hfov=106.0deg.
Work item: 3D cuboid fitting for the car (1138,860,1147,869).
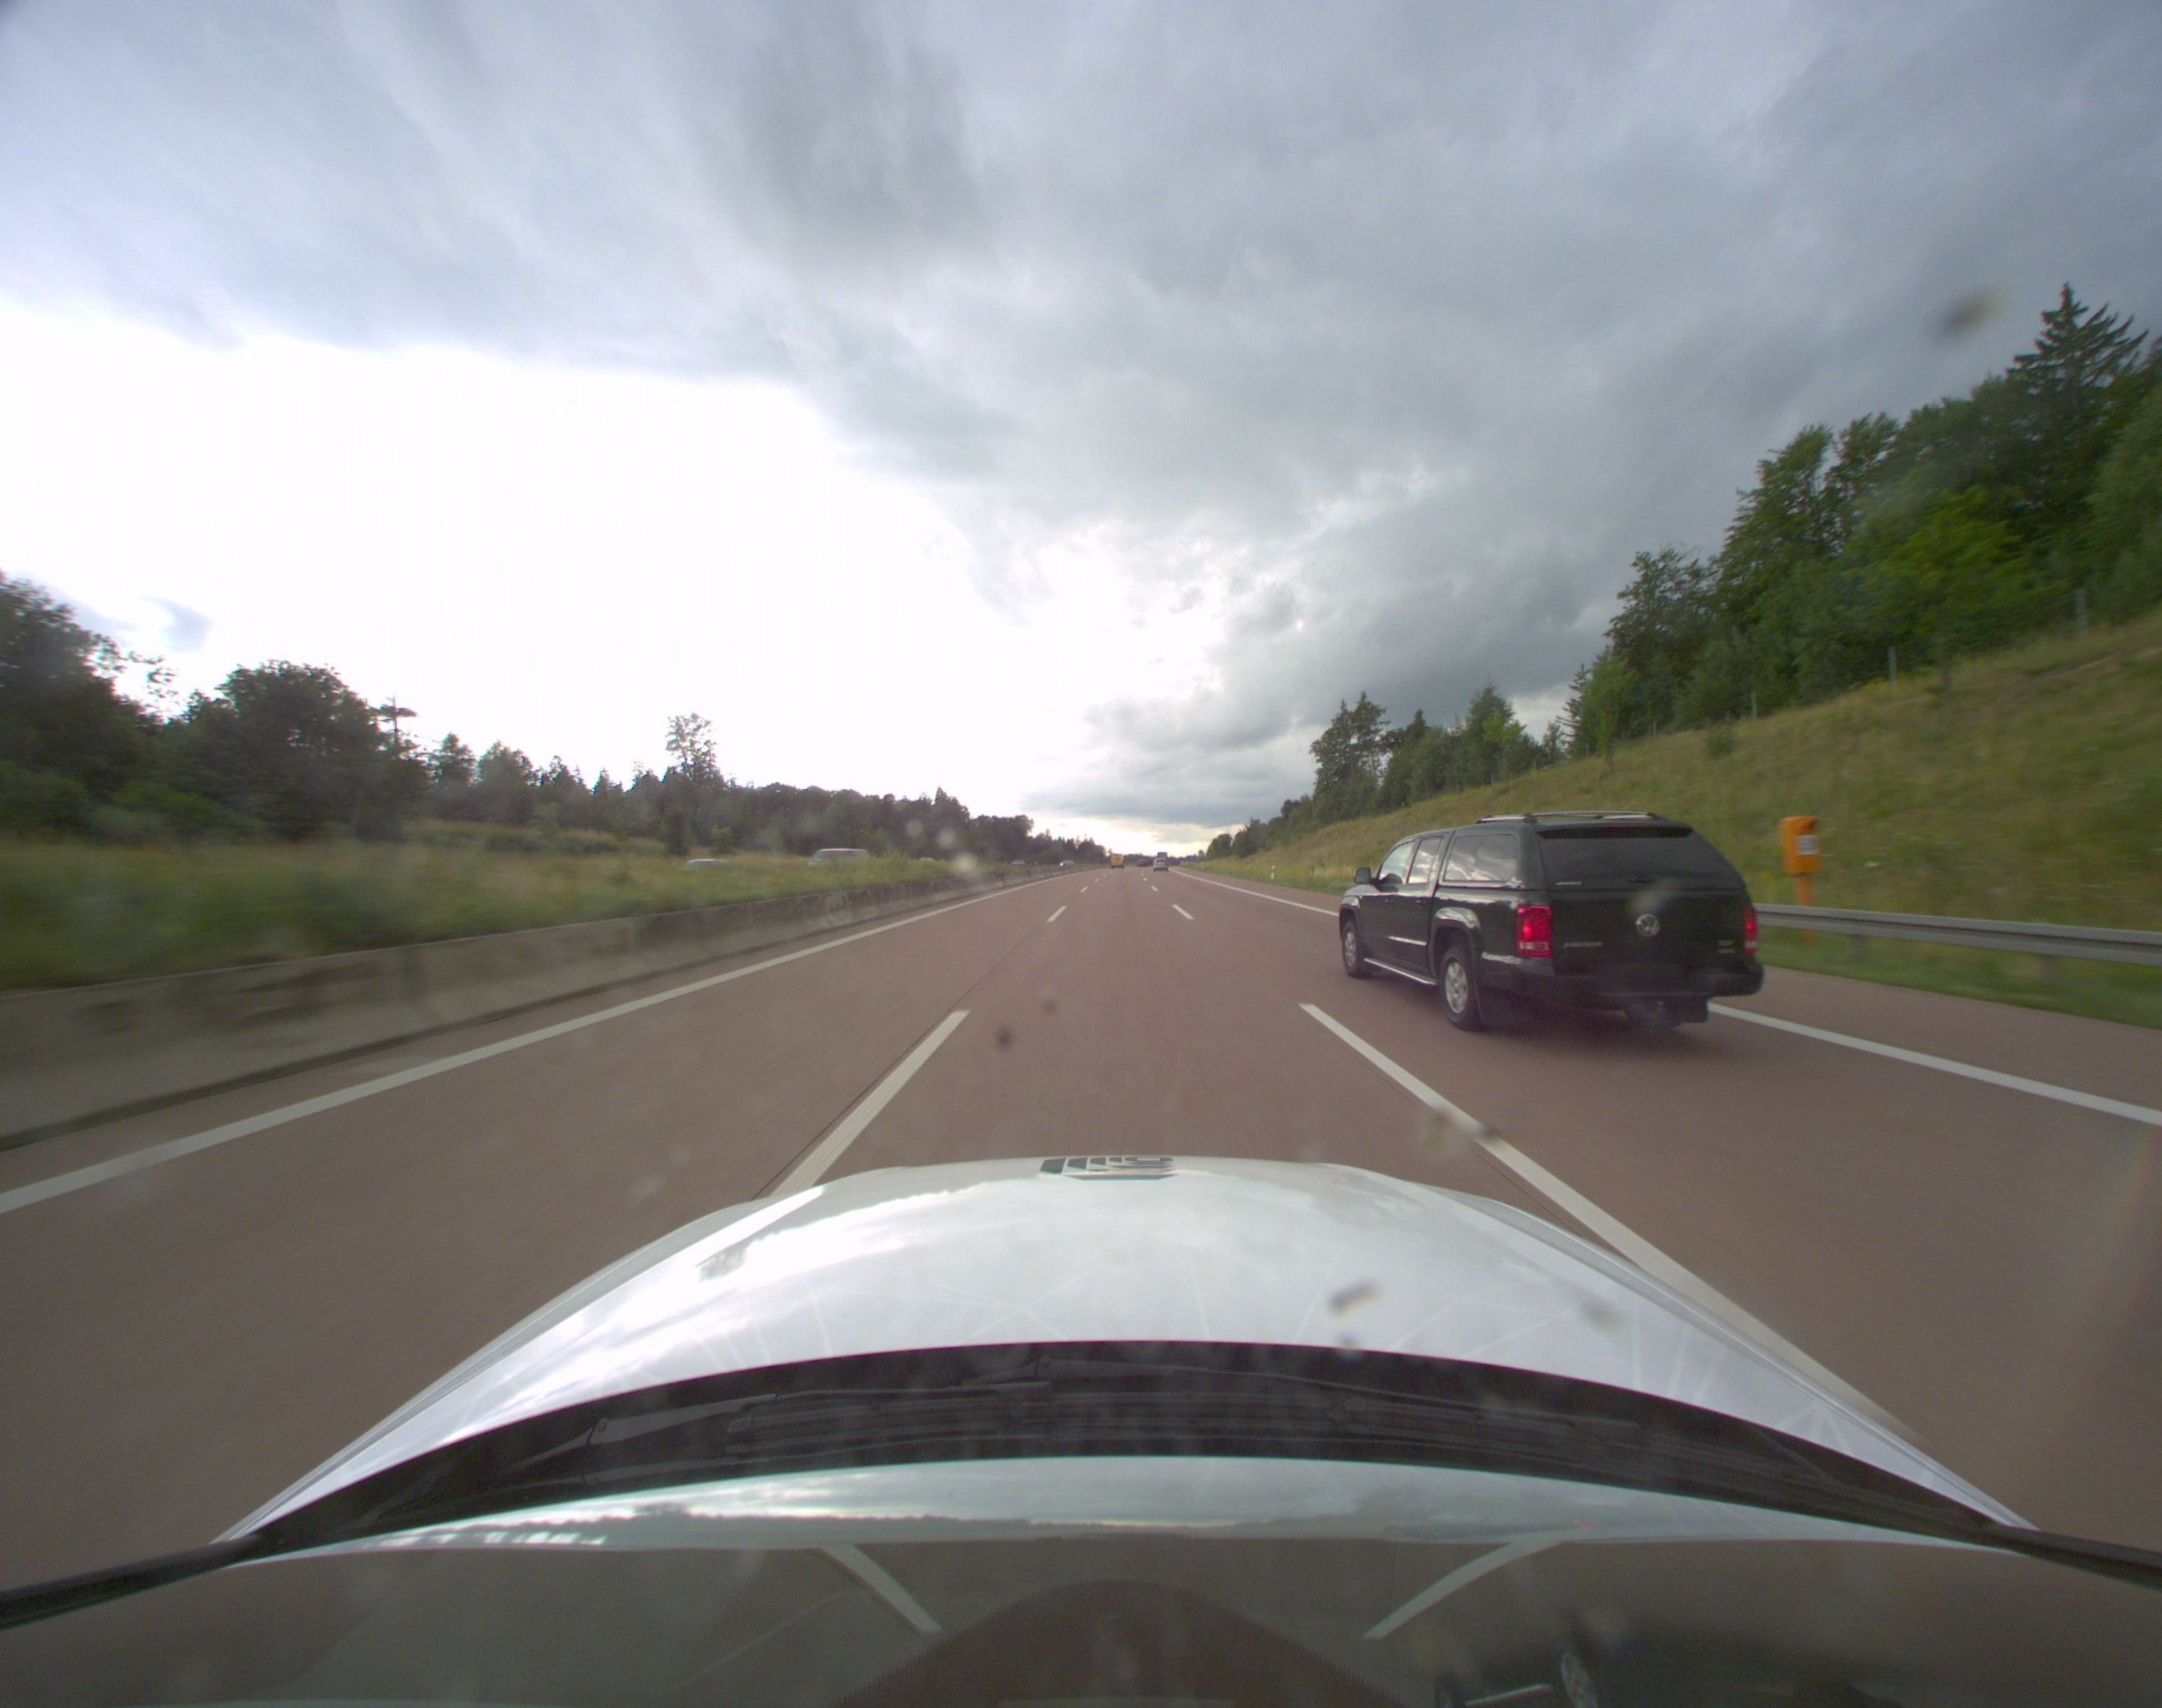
[{"bbox_3d":[13.475,2.324,177.858,1.879,1.764,4.787,-2,-1,4],"label":"car"}]

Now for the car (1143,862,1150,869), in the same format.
[{"bbox_3d":[17.037,2.879,211.914,1.878,1.764,5.005,-2,-1,5],"label":"car"}]

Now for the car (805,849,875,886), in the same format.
[{"bbox_3d":[-12.244,0.720,41.797,1.867,1.817,5.227,0,-2,2],"label":"car"}]

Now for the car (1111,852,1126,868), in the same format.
[{"bbox_3d":[6.466,1.098,140.634,2.449,2.706,5.616,-1,-1,2],"label":"car"}]

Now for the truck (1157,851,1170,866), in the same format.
[{"bbox_3d":[23.974,1.324,237.673,3.662,3.913,12.836,0,-2,6],"label":"truck"}]

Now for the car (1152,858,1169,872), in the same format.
[{"bbox_3d":[9.779,1.377,99.896,1.967,1.648,4.627,0,-1,6],"label":"car"}]

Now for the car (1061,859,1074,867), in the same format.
[{"bbox_3d":[-2.575,1.706,158.894,1.721,1.525,4.257,-1,-2,11],"label":"car"}]

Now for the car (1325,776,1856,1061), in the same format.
[{"bbox_3d":[4.308,0.484,8.353,2.036,1.897,5.579,-1,-1,2],"label":"car"}]
